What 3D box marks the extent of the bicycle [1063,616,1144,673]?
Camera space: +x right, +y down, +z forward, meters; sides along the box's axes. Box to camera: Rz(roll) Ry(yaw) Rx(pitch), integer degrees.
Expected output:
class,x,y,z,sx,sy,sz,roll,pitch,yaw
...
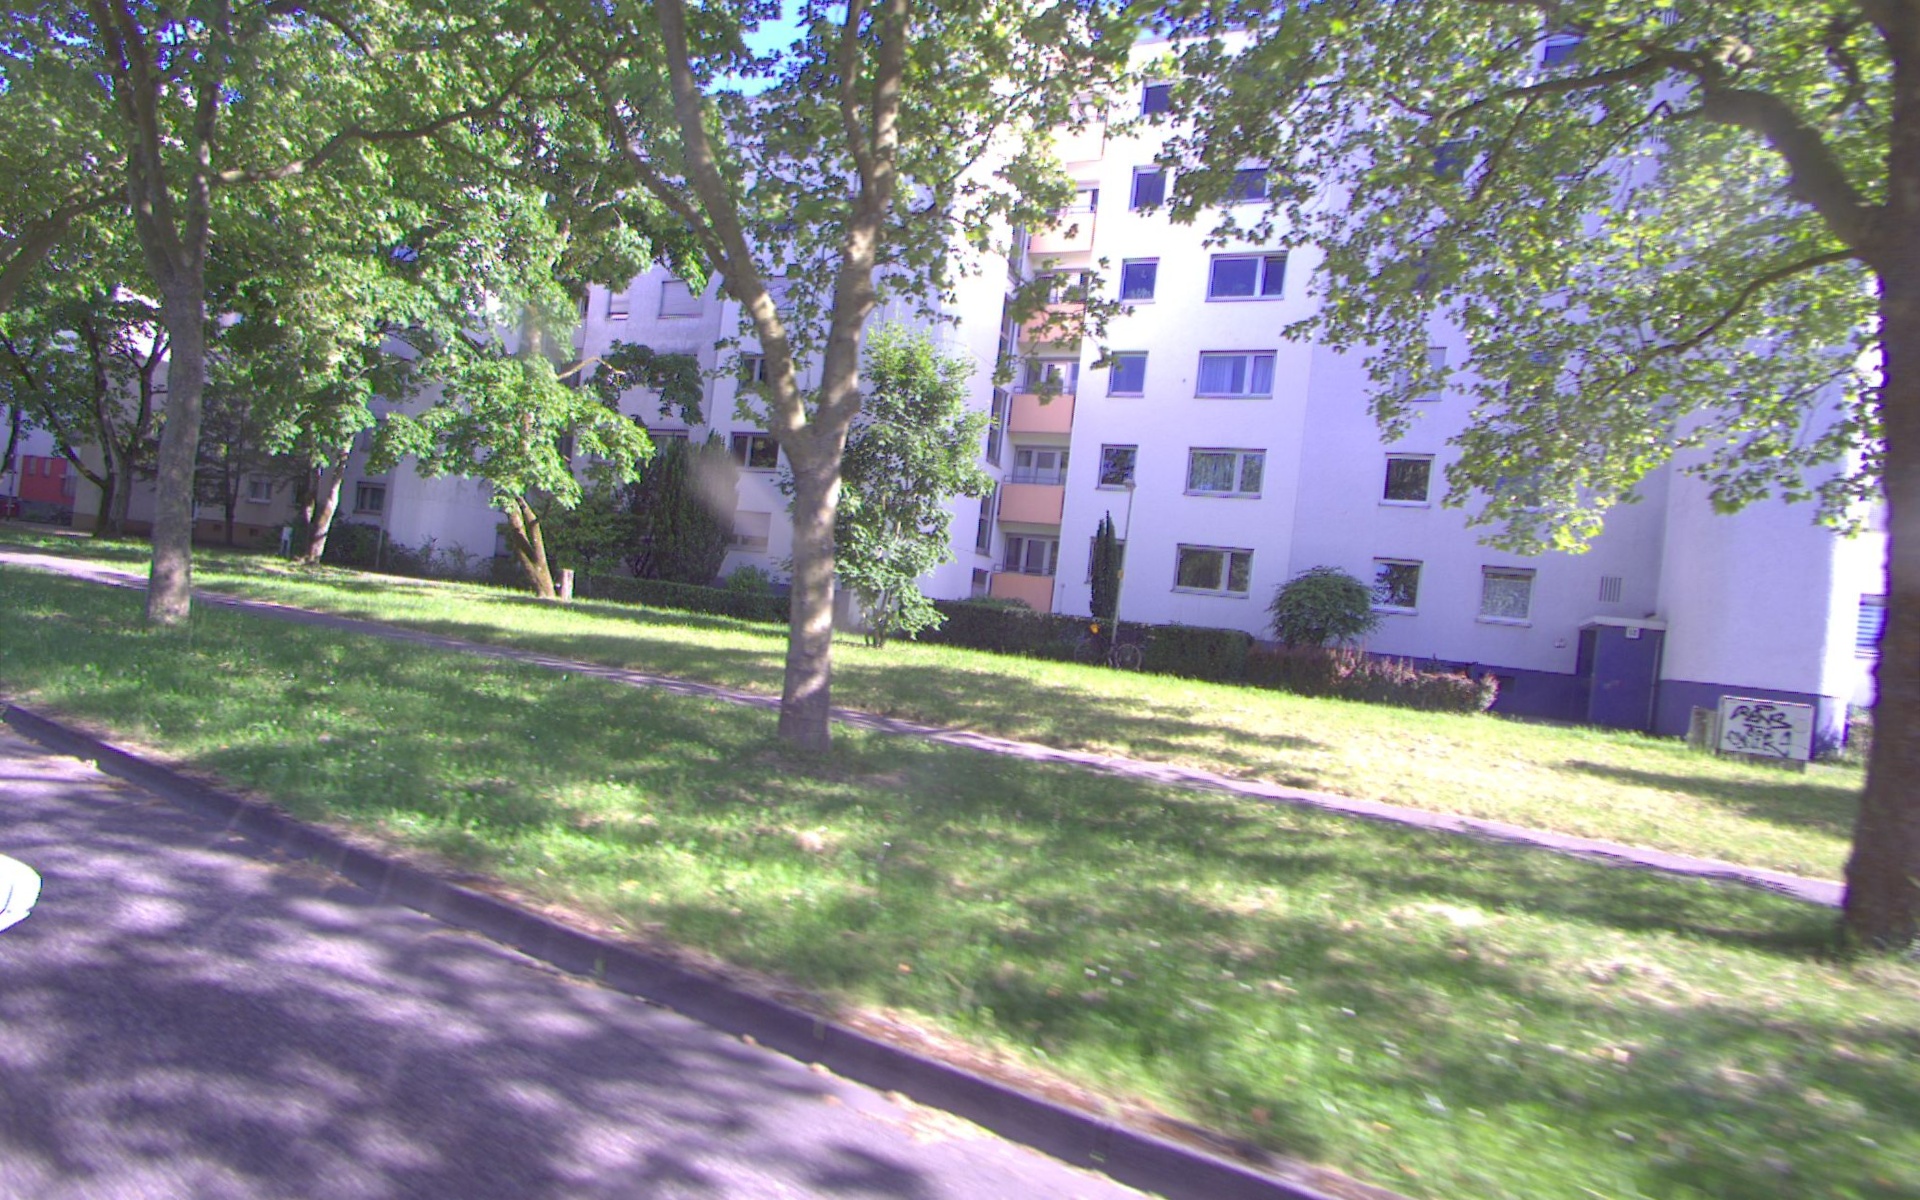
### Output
class,x,y,z,sx,sy,sz,roll,pitch,yaw
bicycle,3.444,1.058,24.218,1.768,1.123,0.499,7,5,25
